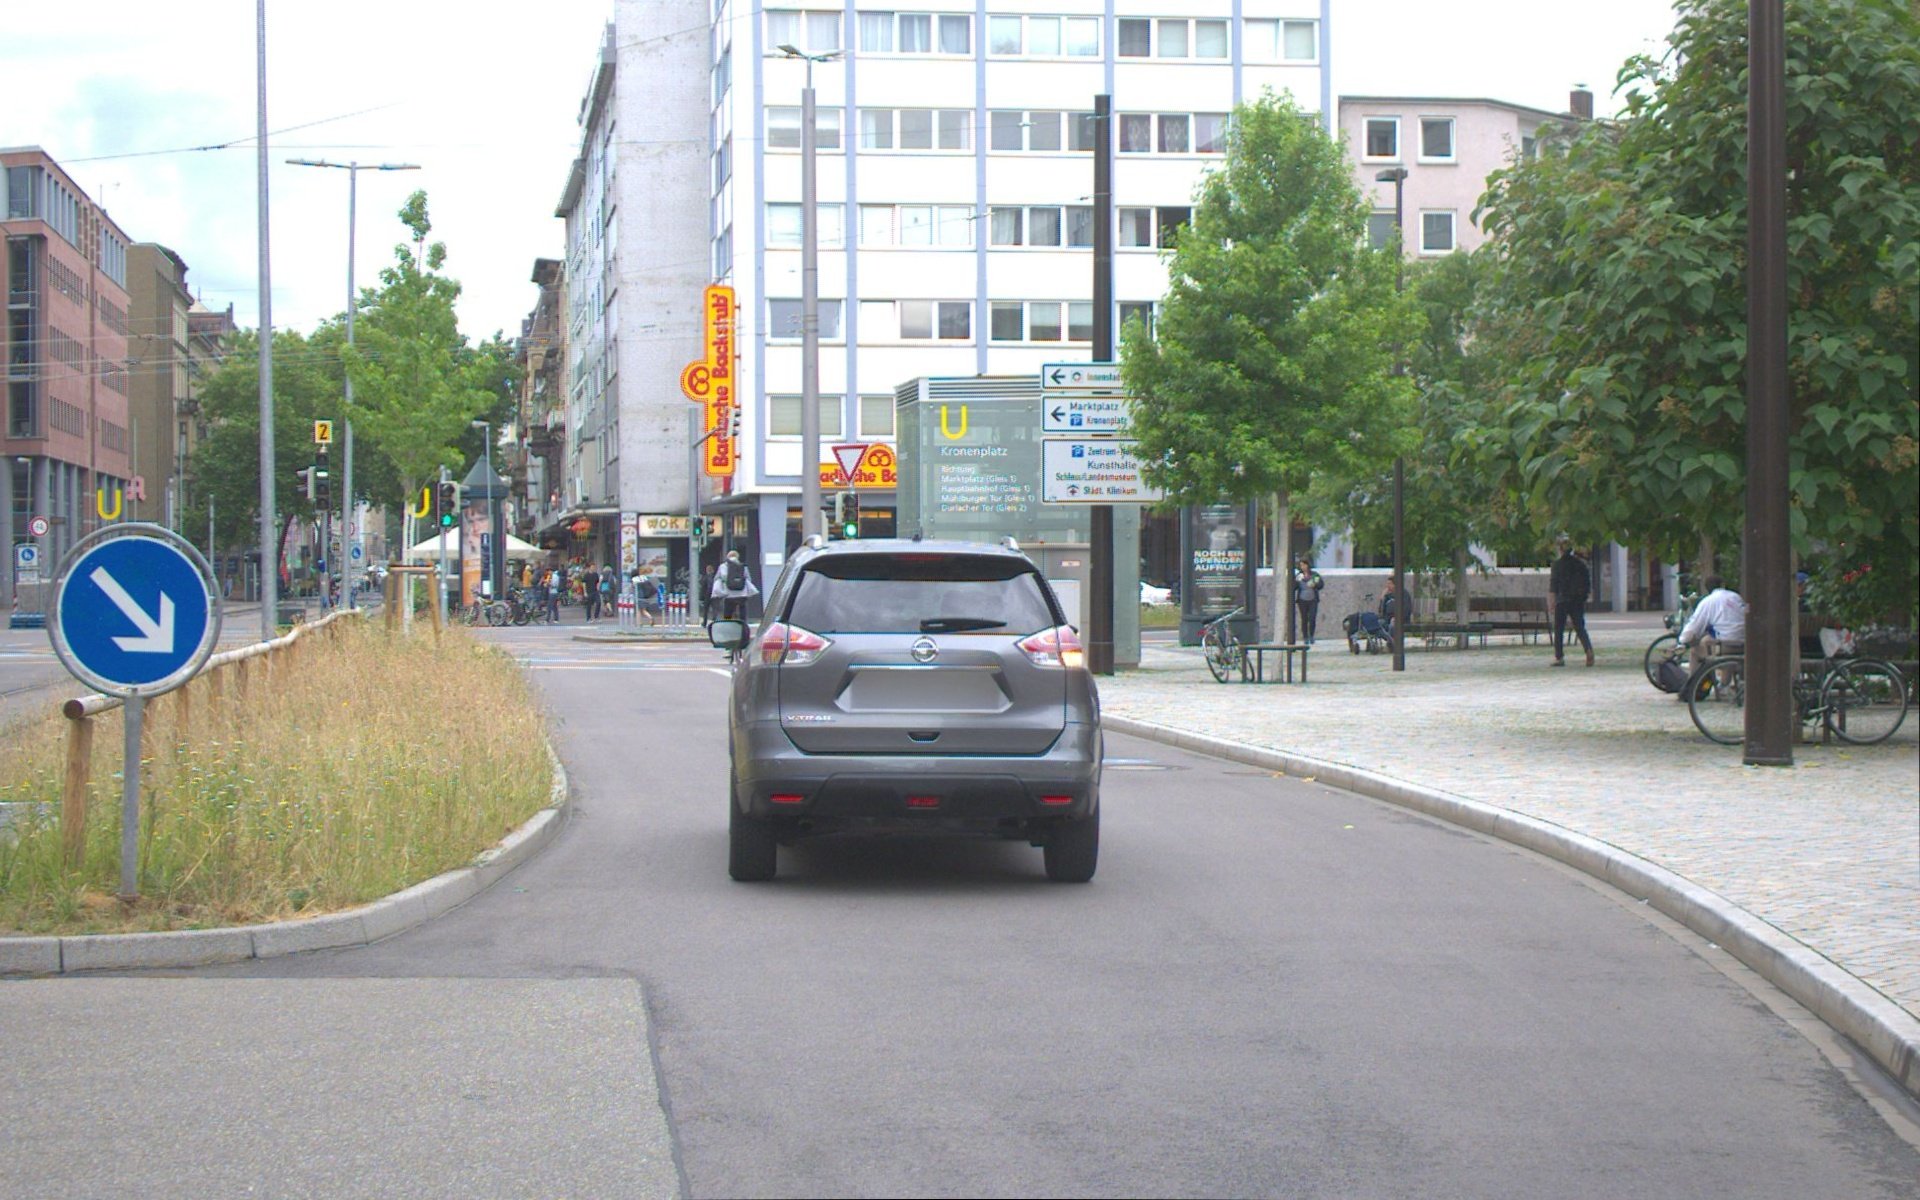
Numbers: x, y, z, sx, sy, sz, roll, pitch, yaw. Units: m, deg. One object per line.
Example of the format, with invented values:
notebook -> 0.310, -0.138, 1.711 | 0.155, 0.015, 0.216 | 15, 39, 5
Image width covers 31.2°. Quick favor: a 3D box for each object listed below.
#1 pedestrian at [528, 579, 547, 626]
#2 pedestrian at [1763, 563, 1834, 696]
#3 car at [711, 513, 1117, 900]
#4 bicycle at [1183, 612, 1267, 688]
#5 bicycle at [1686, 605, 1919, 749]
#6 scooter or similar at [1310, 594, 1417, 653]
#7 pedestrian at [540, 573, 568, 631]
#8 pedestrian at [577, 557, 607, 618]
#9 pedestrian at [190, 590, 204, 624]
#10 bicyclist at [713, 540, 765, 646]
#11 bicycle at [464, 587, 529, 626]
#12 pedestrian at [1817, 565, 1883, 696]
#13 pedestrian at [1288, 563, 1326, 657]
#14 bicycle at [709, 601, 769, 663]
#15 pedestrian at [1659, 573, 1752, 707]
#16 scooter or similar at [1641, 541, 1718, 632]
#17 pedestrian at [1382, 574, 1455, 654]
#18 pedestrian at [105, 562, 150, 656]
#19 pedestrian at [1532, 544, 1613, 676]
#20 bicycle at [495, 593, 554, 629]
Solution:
pedestrian -> -15.486, 0.098, 126.063 | 0.643, 1.699, 0.559 | 1, 0, -7
pedestrian -> 8.772, 0.301, 35.980 | 0.628, 1.361, 0.919 | 1, 0, 9
car -> -0.325, 0.507, 18.301 | 1.863, 1.769, 4.567 | -1, 0, -3
bicycle -> 3.536, 0.651, 45.702 | 0.658, 0.975, 1.753 | 0, 0, 20
bicycle -> 6.882, 0.614, 27.717 | 1.914, 1.119, 0.645 | 1, 0, 3
scooter or similar -> 6.735, 0.392, 57.445 | 1.589, 0.945, 0.724 | -2, 0, 30
pedestrian -> -12.215, 0.063, 103.453 | 0.732, 1.740, 0.663 | 1, 0, -16
pedestrian -> -11.212, -0.390, 104.626 | 0.712, 1.826, 1.017 | 1, 0, -16
pedestrian -> -38.189, 0.344, 172.047 | 0.600, 1.708, 0.656 | 1, 0, -15
bicyclist -> -3.839, -0.127, 59.602 | 0.834, 1.806, 0.878 | 1, 0, -6
bicycle -> -14.042, 0.195, 104.112 | 1.867, 1.168, 0.531 | 1, 0, -22
pedestrian -> 9.453, 0.316, 36.524 | 0.543, 1.361, 1.280 | 1, 0, 9
pedestrian -> 6.501, 0.187, 64.333 | 0.671, 1.755, 0.641 | 1, 0, 7
bicycle -> -3.853, 0.537, 59.722 | 0.901, 1.041, 3.278 | 0, 0, -6
pedestrian -> 7.730, 0.411, 35.644 | 0.628, 1.361, 0.688 | 1, 0, -27
scooter or similar -> 14.590, -0.281, 69.756 | 1.084, 1.800, 2.274 | -1, 0, 0
pedestrian -> 7.621, 0.233, 57.159 | 1.044, 1.292, 0.733 | -2, 0, -3
pedestrian -> -15.146, 0.168, 62.566 | 0.743, 1.678, 0.799 | 1, -1, -13
pedestrian -> 8.590, 0.136, 48.250 | 0.713, 1.796, 1.078 | -3, 0, -9
bicycle -> -13.148, 0.335, 103.814 | 1.695, 1.062, 0.437 | 1, 0, -21
